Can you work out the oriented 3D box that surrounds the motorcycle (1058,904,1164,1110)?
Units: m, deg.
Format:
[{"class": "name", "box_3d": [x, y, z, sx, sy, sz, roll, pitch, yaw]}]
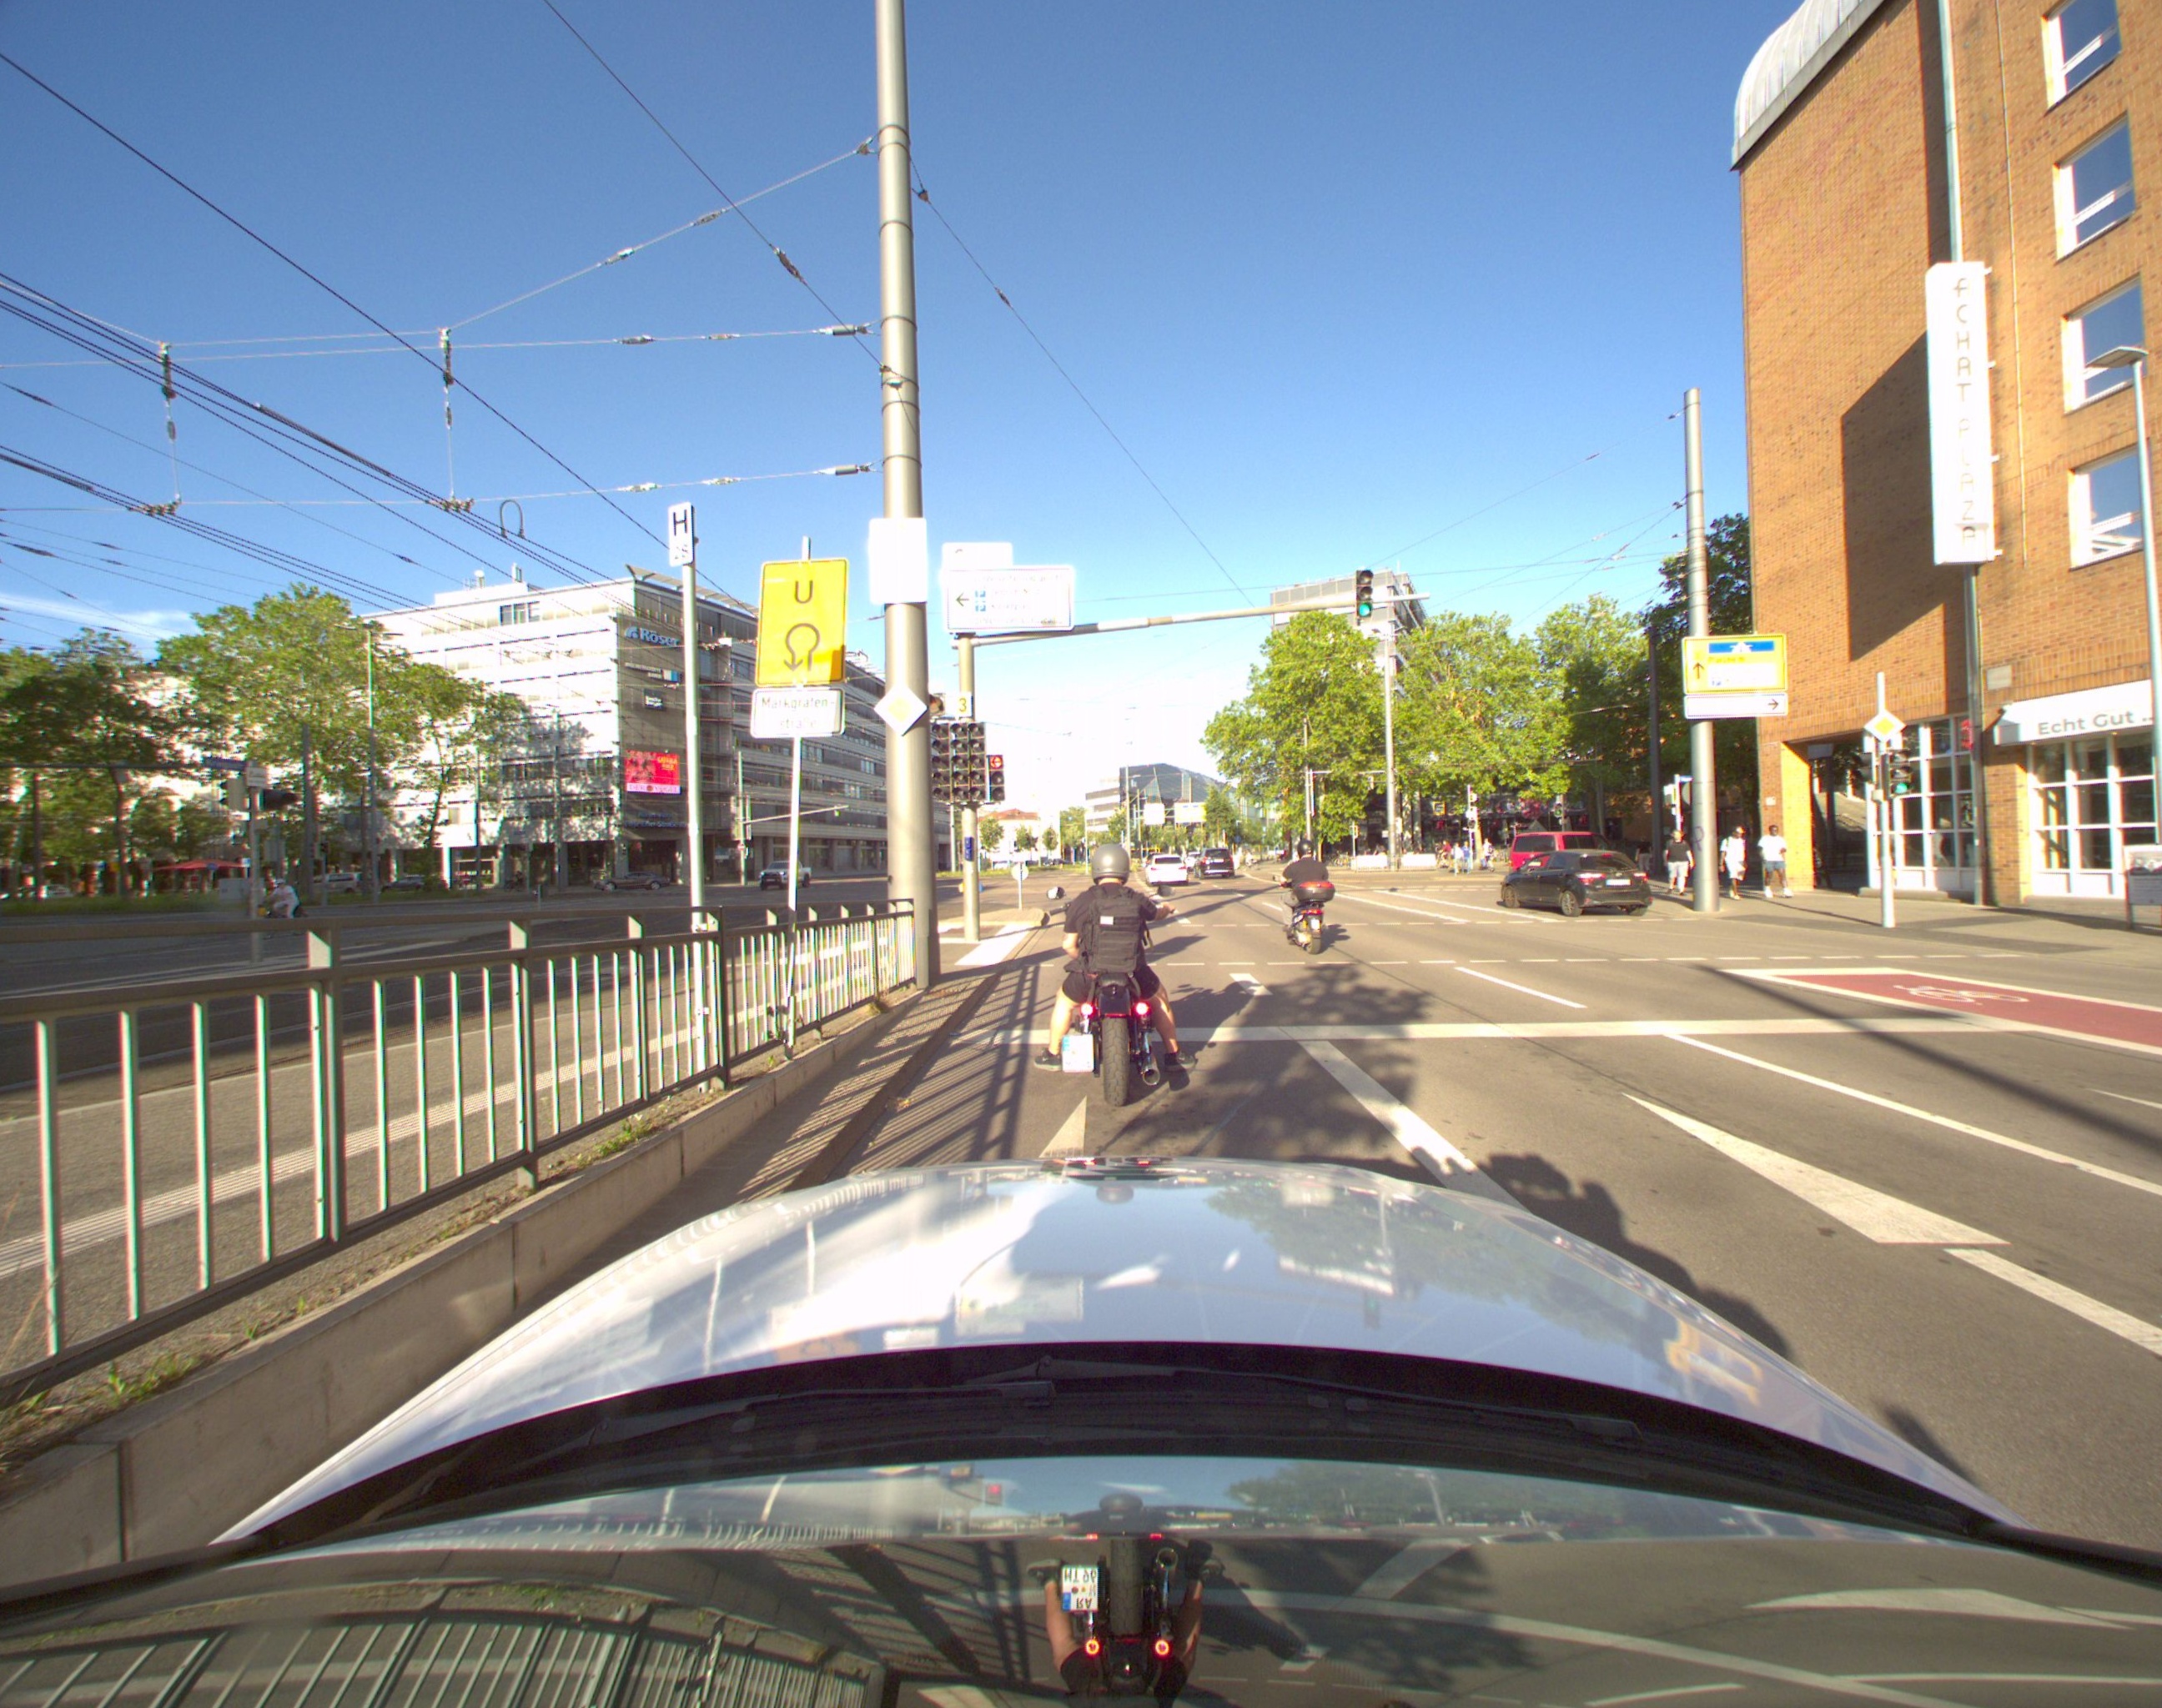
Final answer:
[{"class": "motorcycle", "box_3d": [0.207, 0.944, 5.772, 0.598, 1.036, 2.235, 0, 0, 2]}]

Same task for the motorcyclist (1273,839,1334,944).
[{"class": "motorcyclist", "box_3d": [3.439, 0.571, 12.607, 0.793, 1.580, 0.529, 0, -1, 1]}]

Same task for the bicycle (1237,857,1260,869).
[{"class": "bicycle", "box_3d": [13.706, 0.742, 66.682, 1.808, 0.925, 0.360, -1, -1, 35]}]

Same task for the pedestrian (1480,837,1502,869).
[{"class": "pedestrian", "box_3d": [22.403, -0.046, 44.495, 0.829, 1.704, 0.760, 0, -1, 2]}]

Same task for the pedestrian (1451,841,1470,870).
[{"class": "pedestrian", "box_3d": [20.074, 0.102, 43.079, 0.567, 1.533, 0.698, 0, -1, -16]}]

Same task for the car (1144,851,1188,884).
[{"class": "car", "box_3d": [3.881, 0.622, 37.887, 1.725, 1.457, 4.419, 0, -1, 2]}]

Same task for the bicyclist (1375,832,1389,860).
[{"class": "bicyclist", "box_3d": [19.934, -0.517, 53.978, 0.693, 1.808, 0.730, 0, -1, 6]}]

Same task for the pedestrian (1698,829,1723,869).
[{"class": "pedestrian", "box_3d": [26.799, -0.195, 34.683, 0.634, 1.700, 0.727, -1, -1, 21]}]

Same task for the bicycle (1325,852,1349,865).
[{"class": "bicycle", "box_3d": [21.452, 0.359, 68.177, 1.874, 1.046, 0.360, 0, -1, 1]}]

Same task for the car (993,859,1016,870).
[{"class": "car", "box_3d": [-10.069, 1.371, 108.136, 1.813, 1.430, 4.543, -2, 0, 11]}]

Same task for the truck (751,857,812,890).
[{"class": "truck", "box_3d": [-19.055, 1.259, 52.095, 1.988, 1.880, 5.151, -4, -1, -2]}]

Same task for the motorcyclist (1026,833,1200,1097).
[{"class": "motorcyclist", "box_3d": [0.206, 0.680, 5.435, 1.027, 1.593, 0.874, -2, 0, 1]}]

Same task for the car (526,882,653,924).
[{"class": "car", "box_3d": [-13.855, 1.360, 23.091, 2.884, 1.063, 1.235, 0, -1, -19]}]

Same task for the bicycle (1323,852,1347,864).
[{"class": "bicycle", "box_3d": [21.412, 0.353, 68.663, 1.874, 1.046, 0.360, 0, 0, 1]}]

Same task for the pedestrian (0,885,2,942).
[{"class": "pedestrian", "box_3d": [-32.215, 1.754, 23.681, 0.587, 1.691, 0.795, 0, -1, 2]}]

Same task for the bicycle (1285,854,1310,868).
[{"class": "bicycle", "box_3d": [17.307, 0.573, 65.081, 1.854, 1.044, 0.540, -1, -1, 20]}]

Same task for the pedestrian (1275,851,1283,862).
[{"class": "pedestrian", "box_3d": [21.991, 0.284, 90.484, 0.814, 1.314, 0.640, -1, -1, 11]}]

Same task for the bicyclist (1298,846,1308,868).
[{"class": "bicyclist", "box_3d": [17.729, 0.245, 64.946, 0.682, 1.673, 0.544, -2, -2, 21]}]

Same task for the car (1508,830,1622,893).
[{"class": "car", "box_3d": [16.783, 0.245, 28.160, 4.492, 2.009, 1.789, 0, 0, -36]}]

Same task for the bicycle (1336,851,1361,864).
[{"class": "bicycle", "box_3d": [21.449, 0.286, 65.391, 1.874, 1.046, 0.360, 0, -1, 1]}]

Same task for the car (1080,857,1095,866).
[{"class": "car", "box_3d": [1.130, 1.379, 148.177, 1.736, 1.524, 4.016, -1, -1, 16]}]

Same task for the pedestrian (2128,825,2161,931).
[{"class": "pedestrian", "box_3d": [15.268, 0.325, 11.331, 0.590, 1.476, 0.552, -2, -1, 2]}]

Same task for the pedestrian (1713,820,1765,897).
[{"class": "pedestrian", "box_3d": [15.863, 0.110, 19.651, 0.591, 1.779, 0.681, -5, 1, -2]}]

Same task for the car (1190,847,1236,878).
[{"class": "car", "box_3d": [7.533, 0.441, 46.787, 1.727, 1.732, 4.608, 0, 0, -2]}]

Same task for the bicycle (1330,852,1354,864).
[{"class": "bicycle", "box_3d": [21.491, 0.332, 66.988, 1.874, 1.046, 0.360, 0, -1, 1]}]

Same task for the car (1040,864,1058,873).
[{"class": "car", "box_3d": [-5.050, 2.262, 128.937, 1.812, 1.430, 4.256, -1, -1, 13]}]

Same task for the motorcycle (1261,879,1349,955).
[{"class": "motorcycle", "box_3d": [3.446, 0.934, 12.786, 0.801, 1.050, 2.376, 0, -1, 2]}]

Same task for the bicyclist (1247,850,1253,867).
[{"class": "bicyclist", "box_3d": [13.816, 0.380, 66.605, 0.377, 1.373, 0.347, -1, -1, 38]}]

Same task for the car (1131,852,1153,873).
[{"class": "car", "box_3d": [5.054, 0.677, 67.260, 1.795, 1.678, 4.046, 0, -1, 5]}]

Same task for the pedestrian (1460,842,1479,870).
[{"class": "pedestrian", "box_3d": [20.631, 0.128, 43.273, 0.567, 1.479, 0.698, 0, -1, -17]}]

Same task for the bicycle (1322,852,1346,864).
[{"class": "bicycle", "box_3d": [21.488, 0.352, 69.163, 1.874, 1.046, 0.360, 0, 0, 1]}]

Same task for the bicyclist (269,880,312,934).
[{"class": "bicyclist", "box_3d": [-22.660, 1.509, 23.353, 0.584, 1.534, 0.650, 0, -1, 2]}]

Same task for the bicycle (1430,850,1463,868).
[{"class": "bicycle", "box_3d": [25.201, 0.352, 56.153, 2.034, 1.214, 0.421, 0, -1, 2]}]

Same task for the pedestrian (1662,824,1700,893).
[{"class": "pedestrian", "box_3d": [15.907, 0.118, 21.597, 0.727, 1.792, 0.515, -1, -1, 42]}]

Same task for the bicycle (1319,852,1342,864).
[{"class": "bicycle", "box_3d": [21.529, 0.358, 70.314, 1.874, 1.046, 0.360, 0, 0, 1]}]

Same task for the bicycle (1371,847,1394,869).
[{"class": "bicycle", "box_3d": [19.941, 0.278, 53.903, 0.722, 1.367, 2.922, 0, -1, 6]}]

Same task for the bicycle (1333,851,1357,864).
[{"class": "bicycle", "box_3d": [21.452, 0.308, 66.174, 1.874, 1.046, 0.360, 0, -1, 1]}]

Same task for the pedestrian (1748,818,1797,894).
[{"class": "pedestrian", "box_3d": [16.702, 0.056, 19.690, 0.588, 1.780, 0.684, -3, -1, 13]}]

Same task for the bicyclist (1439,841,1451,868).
[{"class": "bicyclist", "box_3d": [25.100, 0.044, 56.166, 0.582, 1.837, 0.403, 0, -1, 1]}]

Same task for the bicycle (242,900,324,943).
[{"class": "bicycle", "box_3d": [-22.760, 1.903, 23.279, 0.458, 1.090, 1.815, -3, -1, 2]}]

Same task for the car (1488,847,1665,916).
[{"class": "car", "box_3d": [11.619, 0.581, 19.454, 1.726, 1.450, 4.039, -1, 0, -1]}]

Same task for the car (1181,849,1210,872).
[{"class": "car", "box_3d": [8.515, 0.464, 60.741, 1.725, 1.598, 4.043, 0, 0, 2]}]
